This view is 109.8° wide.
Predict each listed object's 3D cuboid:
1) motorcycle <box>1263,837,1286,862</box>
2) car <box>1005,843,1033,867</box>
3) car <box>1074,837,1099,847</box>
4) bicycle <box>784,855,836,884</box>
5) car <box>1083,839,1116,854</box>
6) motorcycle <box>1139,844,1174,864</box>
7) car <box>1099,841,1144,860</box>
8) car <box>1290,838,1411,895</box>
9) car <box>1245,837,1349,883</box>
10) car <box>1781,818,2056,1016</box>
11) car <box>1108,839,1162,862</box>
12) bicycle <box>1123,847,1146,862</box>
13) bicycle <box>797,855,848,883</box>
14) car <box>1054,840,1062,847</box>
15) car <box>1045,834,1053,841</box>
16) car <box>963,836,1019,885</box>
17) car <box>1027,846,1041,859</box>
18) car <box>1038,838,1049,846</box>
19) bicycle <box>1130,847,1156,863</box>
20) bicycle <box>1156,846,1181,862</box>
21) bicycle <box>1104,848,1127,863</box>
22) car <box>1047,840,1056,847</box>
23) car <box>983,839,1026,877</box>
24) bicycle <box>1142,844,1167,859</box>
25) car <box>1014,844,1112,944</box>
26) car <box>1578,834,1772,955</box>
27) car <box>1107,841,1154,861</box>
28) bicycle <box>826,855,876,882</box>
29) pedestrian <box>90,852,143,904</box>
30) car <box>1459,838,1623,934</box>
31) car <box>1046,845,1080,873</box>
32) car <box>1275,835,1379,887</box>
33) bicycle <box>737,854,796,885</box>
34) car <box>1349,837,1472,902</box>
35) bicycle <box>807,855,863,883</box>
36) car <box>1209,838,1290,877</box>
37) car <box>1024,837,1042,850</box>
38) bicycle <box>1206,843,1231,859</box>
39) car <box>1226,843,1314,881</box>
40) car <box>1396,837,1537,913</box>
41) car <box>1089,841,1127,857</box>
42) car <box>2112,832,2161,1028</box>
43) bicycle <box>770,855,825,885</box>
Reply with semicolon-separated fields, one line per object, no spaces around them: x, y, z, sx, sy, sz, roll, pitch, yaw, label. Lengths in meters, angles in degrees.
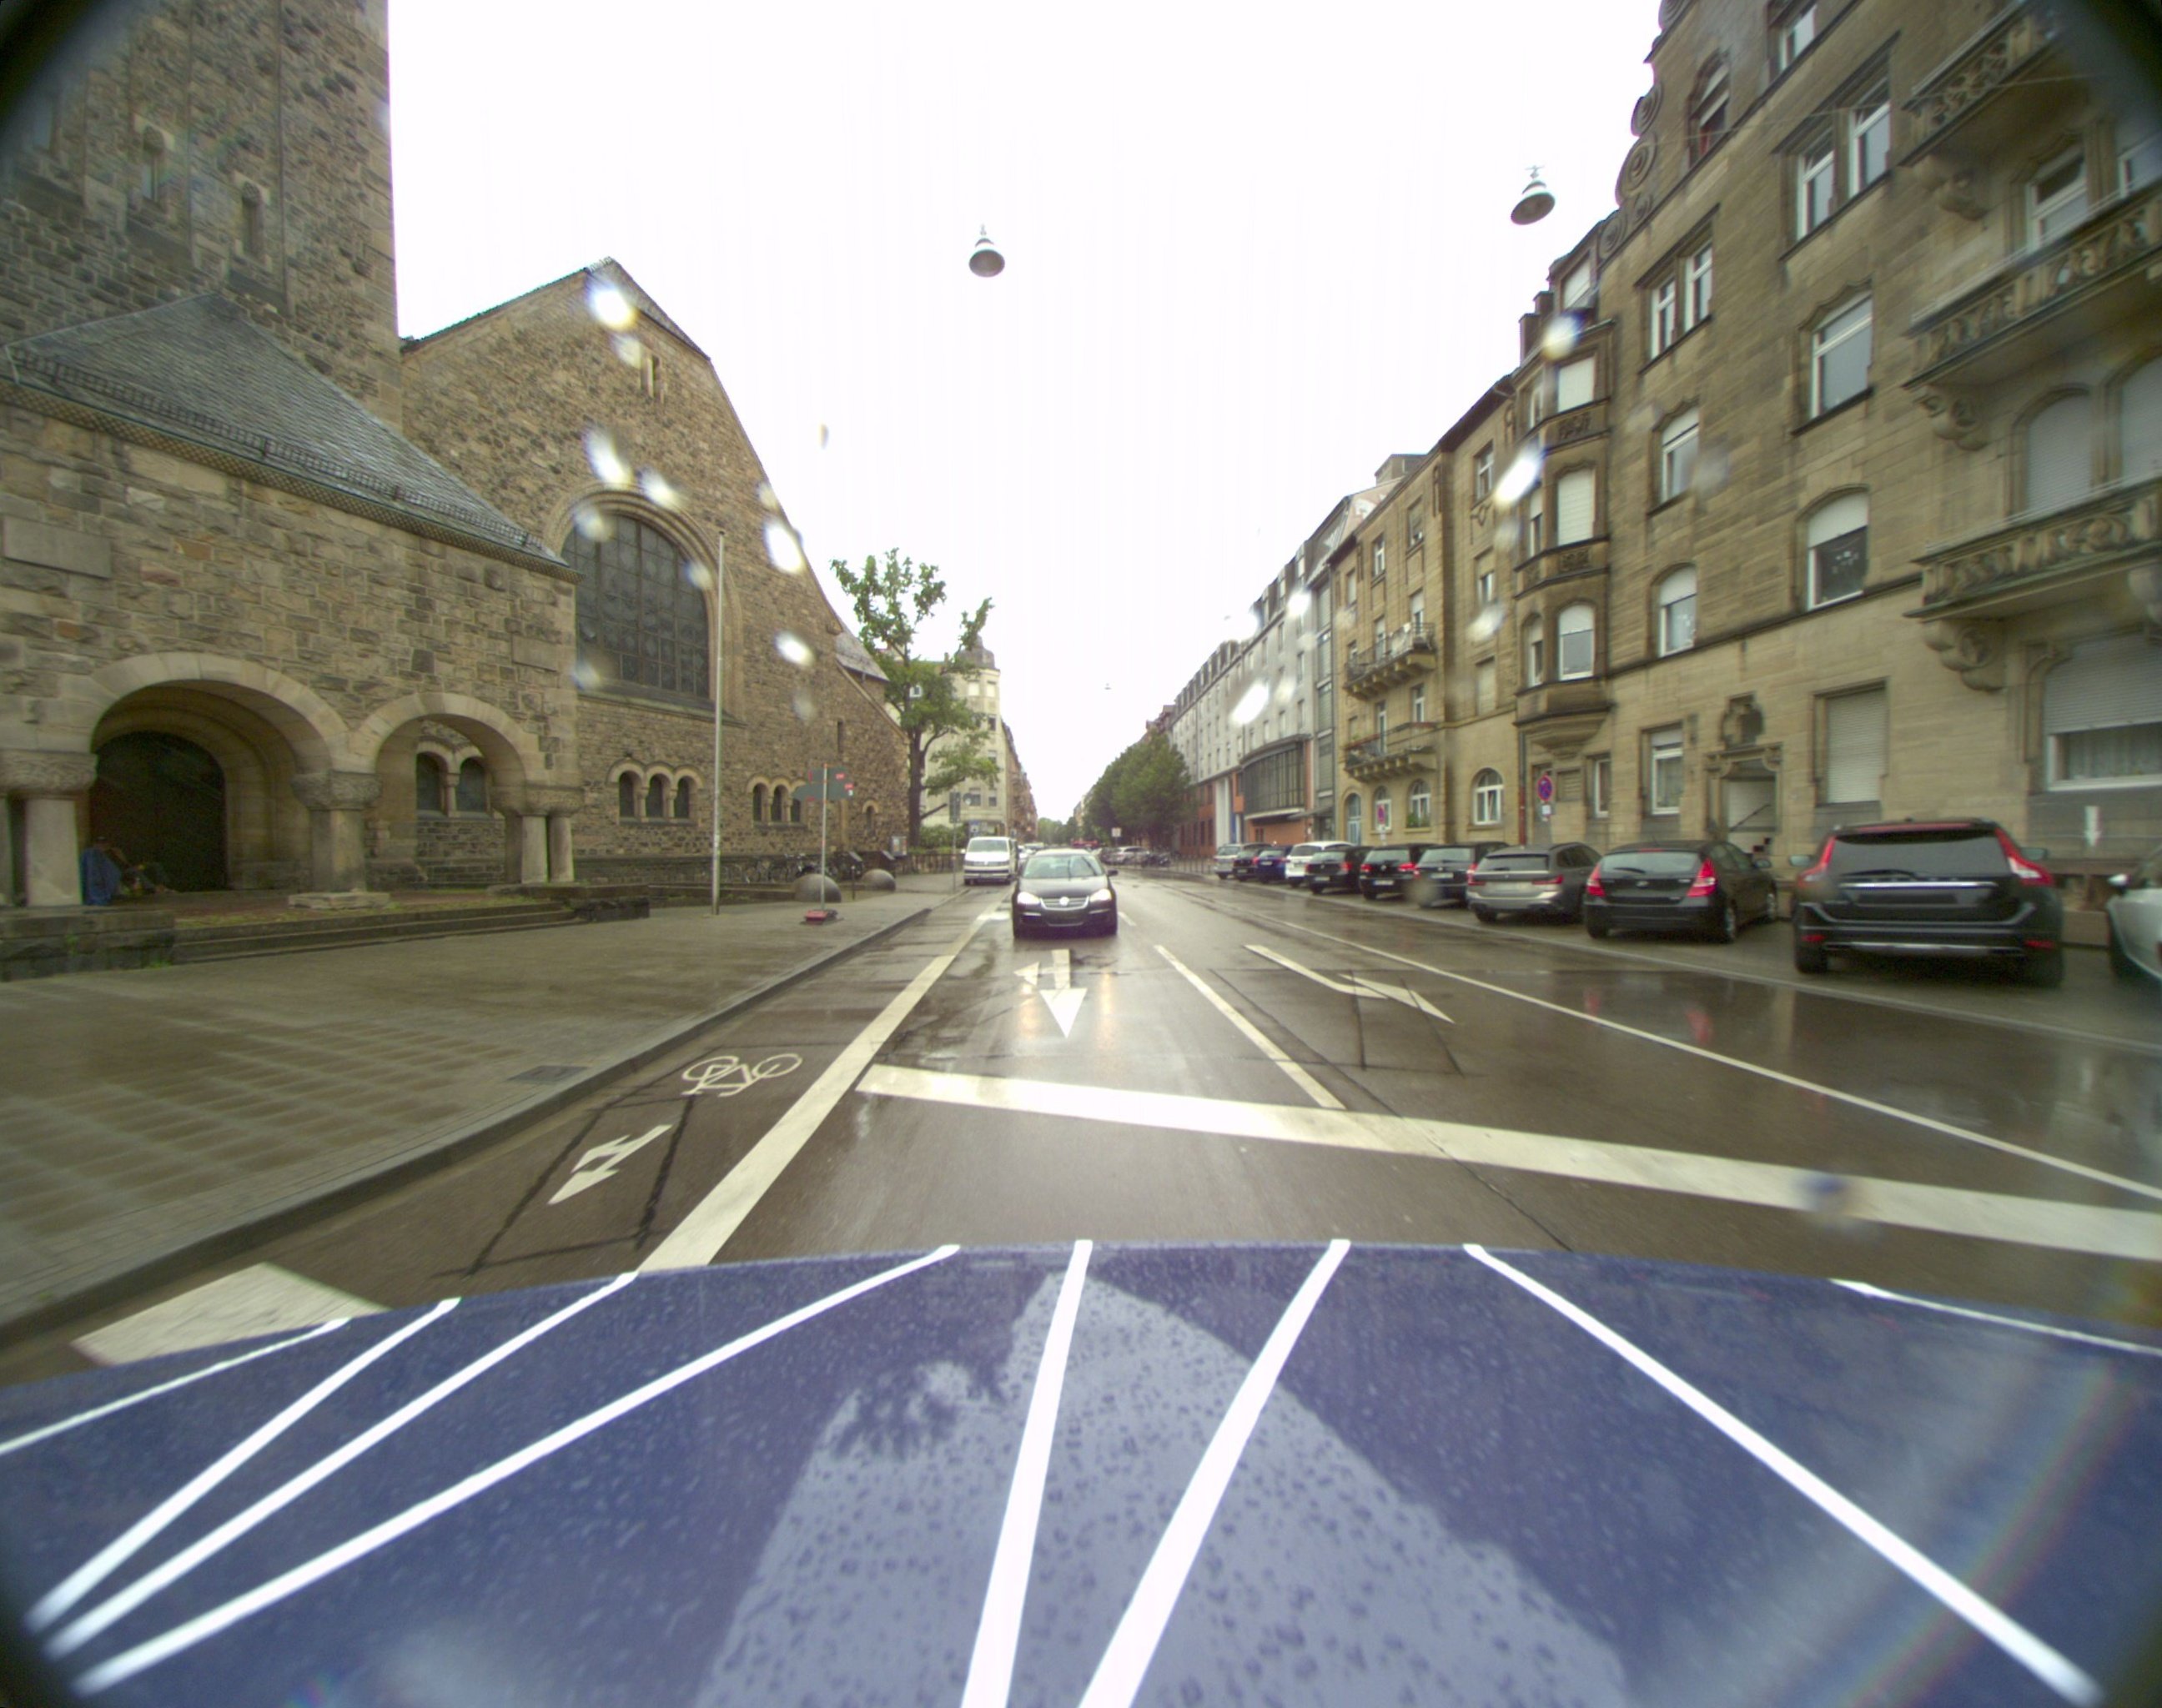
11.945;-0.294;47.012;0.777;1.455;2.361;0;1;-2;motorcycle
-4.233;0.055;52.186;1.675;1.541;3.917;0;1;-2;car
0.986;-2.109;131.386;3.809;1.705;1.994;-1;1;-35;car
-10.299;0.593;28.915;1.924;1.054;0.582;0;1;20;bicycle
2.513;-1.028;103.689;4.006;2.002;1.995;-1;1;-30;car
5.232;-0.017;52.621;2.255;1.303;0.758;-2;2;-2;motorcycle
3.762;-0.312;70.458;3.803;1.705;1.997;0;1;-12;car
8.529;0.350;23.954;3.733;1.535;1.774;-3;1;-37;car
8.560;0.197;30.030;3.732;1.519;1.897;-5;4;-32;car
9.493;0.513;8.662;4.092;1.682;1.759;-3;1;-41;car
4.441;-0.310;62.687;4.006;1.804;1.995;-1;1;-28;car
4.069;0.032;58.275;1.688;1.067;0.544;-1;2;-5;bicycle
-10.086;0.574;29.617;1.924;1.054;0.582;0;1;20;bicycle
-5.993;-2.697;198.196;1.998;1.705;4.374;0;1;2;car
-8.636;-4.485;206.390;1.838;1.827;4.000;0;1;2;car
-3.706;0.213;32.244;1.909;1.912;5.270;0;1;-2;car
-4.777;-0.179;77.103;1.356;1.285;3.012;0;1;-2;car
-7.961;-2.525;161.947;1.998;1.705;3.802;0;1;2;car
4.445;0.063;54.524;1.688;1.067;0.544;-3;2;-5;bicycle
6.300;-0.007;54.584;1.688;1.067;0.544;-3;2;-5;bicycle
2.705;0.109;59.173;1.688;1.067;0.544;2;1;-5;bicycle
-7.109;-2.500;183.440;1.998;1.705;4.374;0;1;2;car
-3.842;0.163;38.750;1.837;1.835;4.294;0;1;-2;car
5.348;-0.172;55.315;1.688;1.067;0.544;0;1;-5;bicycle
-0.339;0.598;13.981;1.548;1.554;4.069;0;1;-2;car
9.283;0.532;11.808;3.316;1.516;1.696;-3;1;-40;car
4.395;-0.289;67.405;3.803;1.705;1.997;0;1;-12;car
-9.394;0.577;31.072;1.978;1.060;0.607;0;1;20;bicycle
-16.853;0.407;13.284;0.395;0.879;0.457;0;1;21;pedestrian
8.911;0.534;14.613;3.436;1.535;1.696;-4;1;-41;car
-0.997;0.246;41.504;1.766;1.430;3.746;0;1;-2;car
8.846;0.210;27.225;3.734;1.617;1.774;-3;1;-40;car
-11.191;0.542;27.045;2.005;1.043;0.577;0;1;15;bicycle
9.133;0.372;20.907;3.765;1.535;1.624;-4;1;-42;car
-9.805;0.580;30.318;2.151;1.054;0.679;0;1;20;bicycle
7.947;0.115;35.724;3.931;1.720;1.811;-1;2;-43;car
-5.328;-1.171;84.313;1.922;1.471;4.219;0;1;-3;car
11.289;-0.255;62.446;1.901;1.217;0.938;0;1;24;bicycle
8.144;0.310;32.653;3.734;1.519;1.713;-1;1;-37;car
9.223;0.438;18.107;3.450;1.535;1.624;-3;1;-38;car
2.912;-0.521;83.323;3.803;1.705;1.997;0;1;-12;car
9.952;0.605;6.072;4.001;1.525;1.700;-3;1;-41;car
-10.534;0.591;28.239;1.924;1.054;0.582;0;1;17;bicycle
